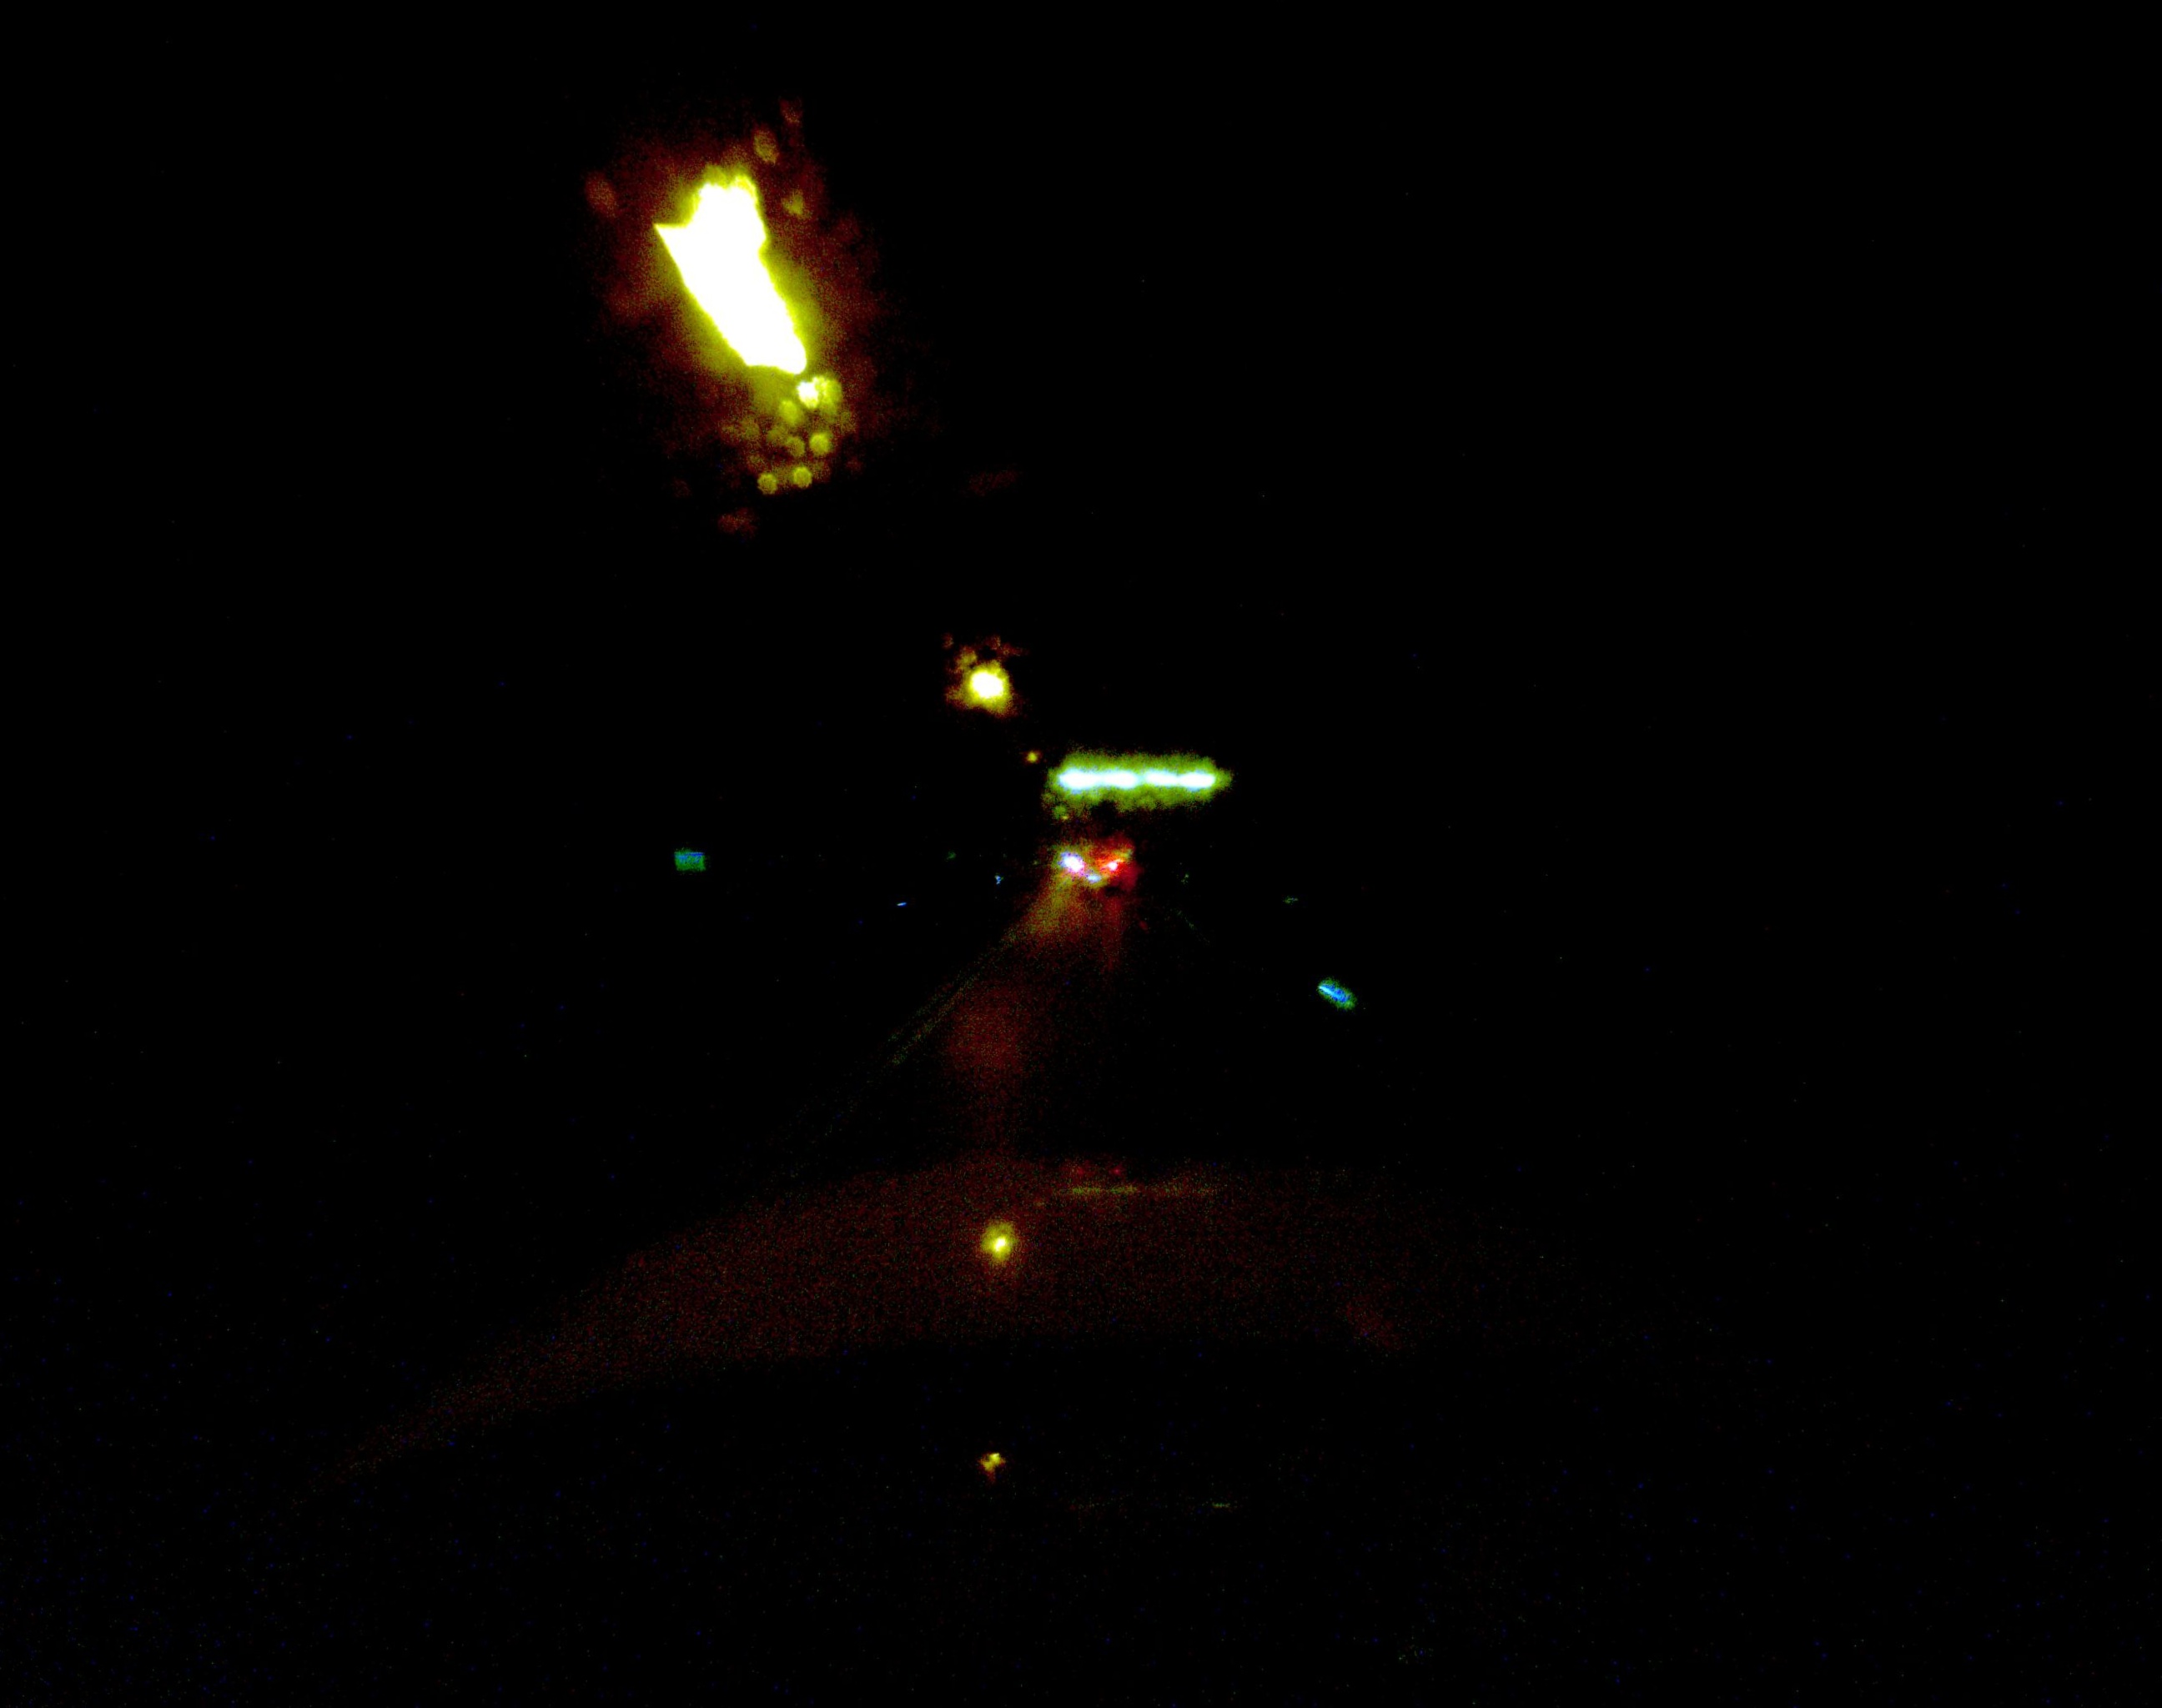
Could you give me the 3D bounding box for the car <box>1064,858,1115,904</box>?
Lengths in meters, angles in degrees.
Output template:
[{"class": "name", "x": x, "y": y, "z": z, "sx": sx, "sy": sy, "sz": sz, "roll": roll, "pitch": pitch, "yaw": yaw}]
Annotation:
[{"class": "car", "x": 0.398, "y": 0.984, "z": 31.407, "sx": 1.801, "sy": 1.622, "sz": 4.002, "roll": -1, "pitch": -1, "yaw": 2}]
